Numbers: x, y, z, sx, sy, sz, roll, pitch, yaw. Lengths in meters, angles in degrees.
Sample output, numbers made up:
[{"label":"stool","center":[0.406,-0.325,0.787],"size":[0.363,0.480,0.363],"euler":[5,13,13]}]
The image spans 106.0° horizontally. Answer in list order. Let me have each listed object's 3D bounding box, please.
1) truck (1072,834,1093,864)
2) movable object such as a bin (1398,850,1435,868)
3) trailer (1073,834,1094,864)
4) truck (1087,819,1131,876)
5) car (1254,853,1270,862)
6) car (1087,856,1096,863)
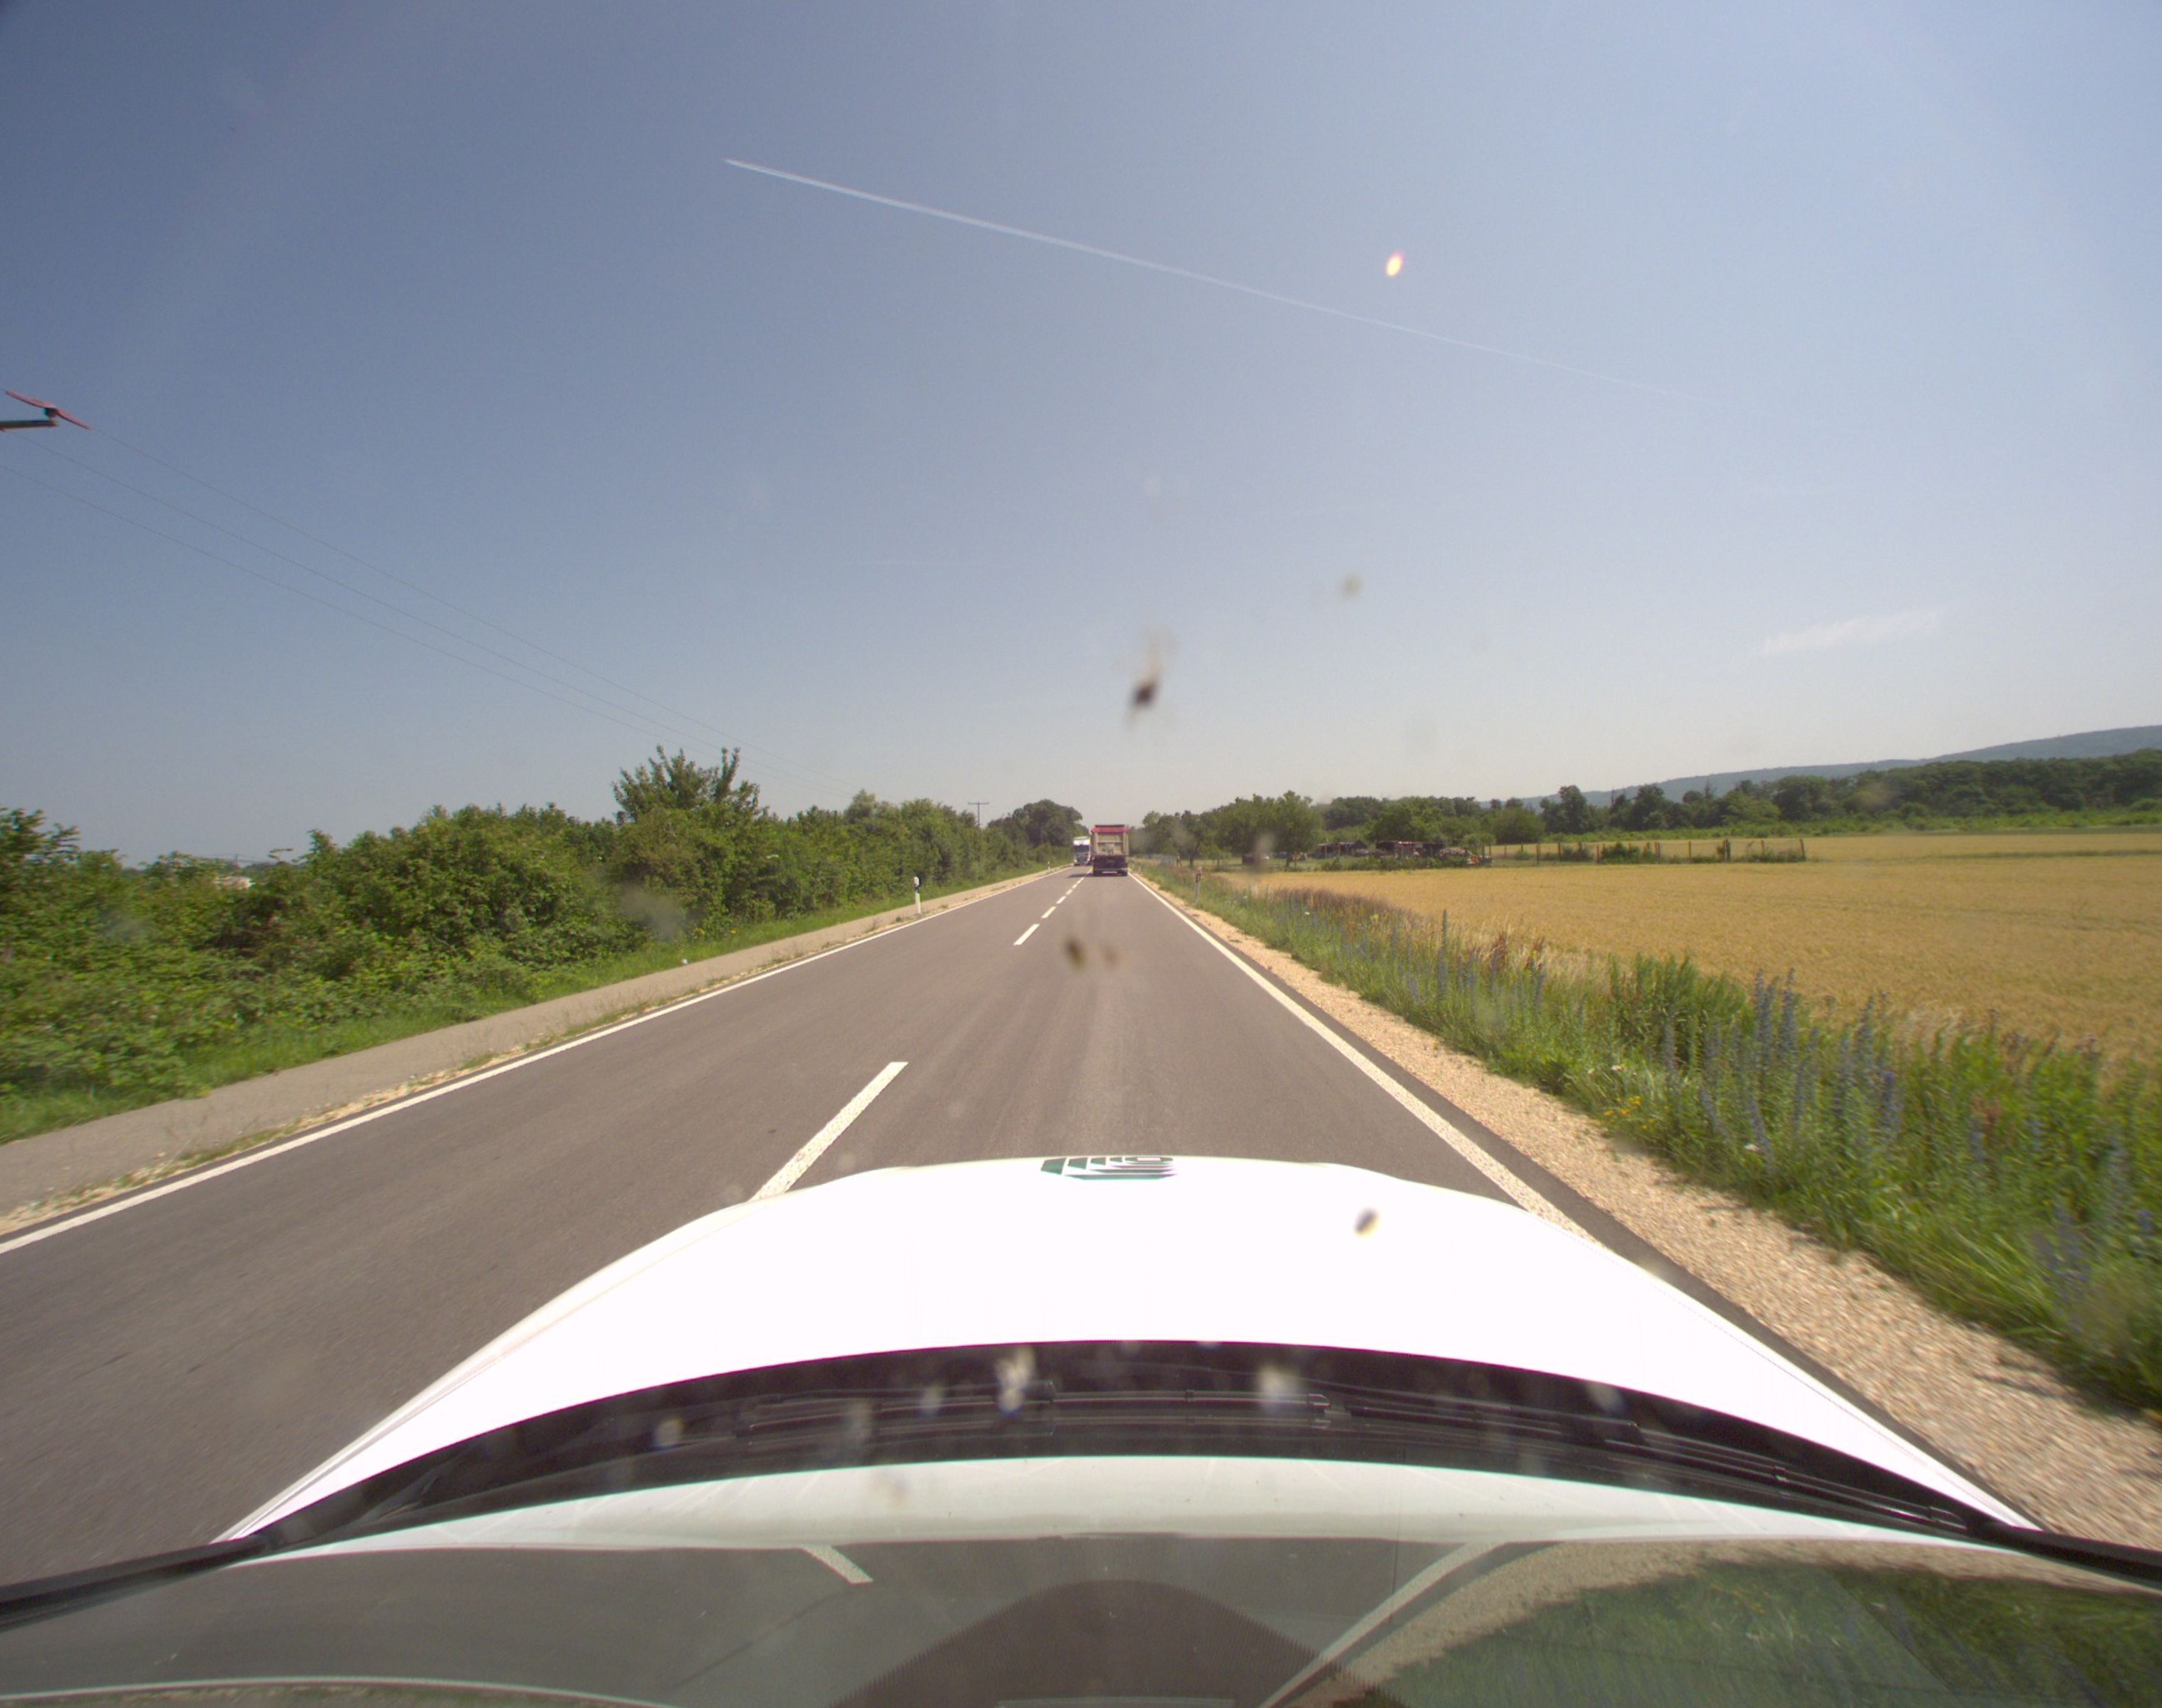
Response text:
[{"label":"truck","center":[0.259,-0.777,123.141],"size":[2.707,4.266,7.392],"euler":[-3,0,2]},{"label":"movable object such as a bin","center":[29.292,0.430,71.137],"size":[1.567,1.496,3.655],"euler":[-2,0,-3]},{"label":"trailer","center":[0.482,-0.761,129.189],"size":[2.706,4.265,13.816],"euler":[-3,0,2]},{"label":"truck","center":[2.122,-0.426,61.786],"size":[2.998,3.874,12.213],"euler":[0,0,2]},{"label":"car","center":[31.650,0.627,142.338],"size":[1.591,1.486,3.420],"euler":[-2,1,-6]},{"label":"car","center":[2.424,1.287,186.558],"size":[1.752,1.606,4.482],"euler":[-4,0,1]}]
